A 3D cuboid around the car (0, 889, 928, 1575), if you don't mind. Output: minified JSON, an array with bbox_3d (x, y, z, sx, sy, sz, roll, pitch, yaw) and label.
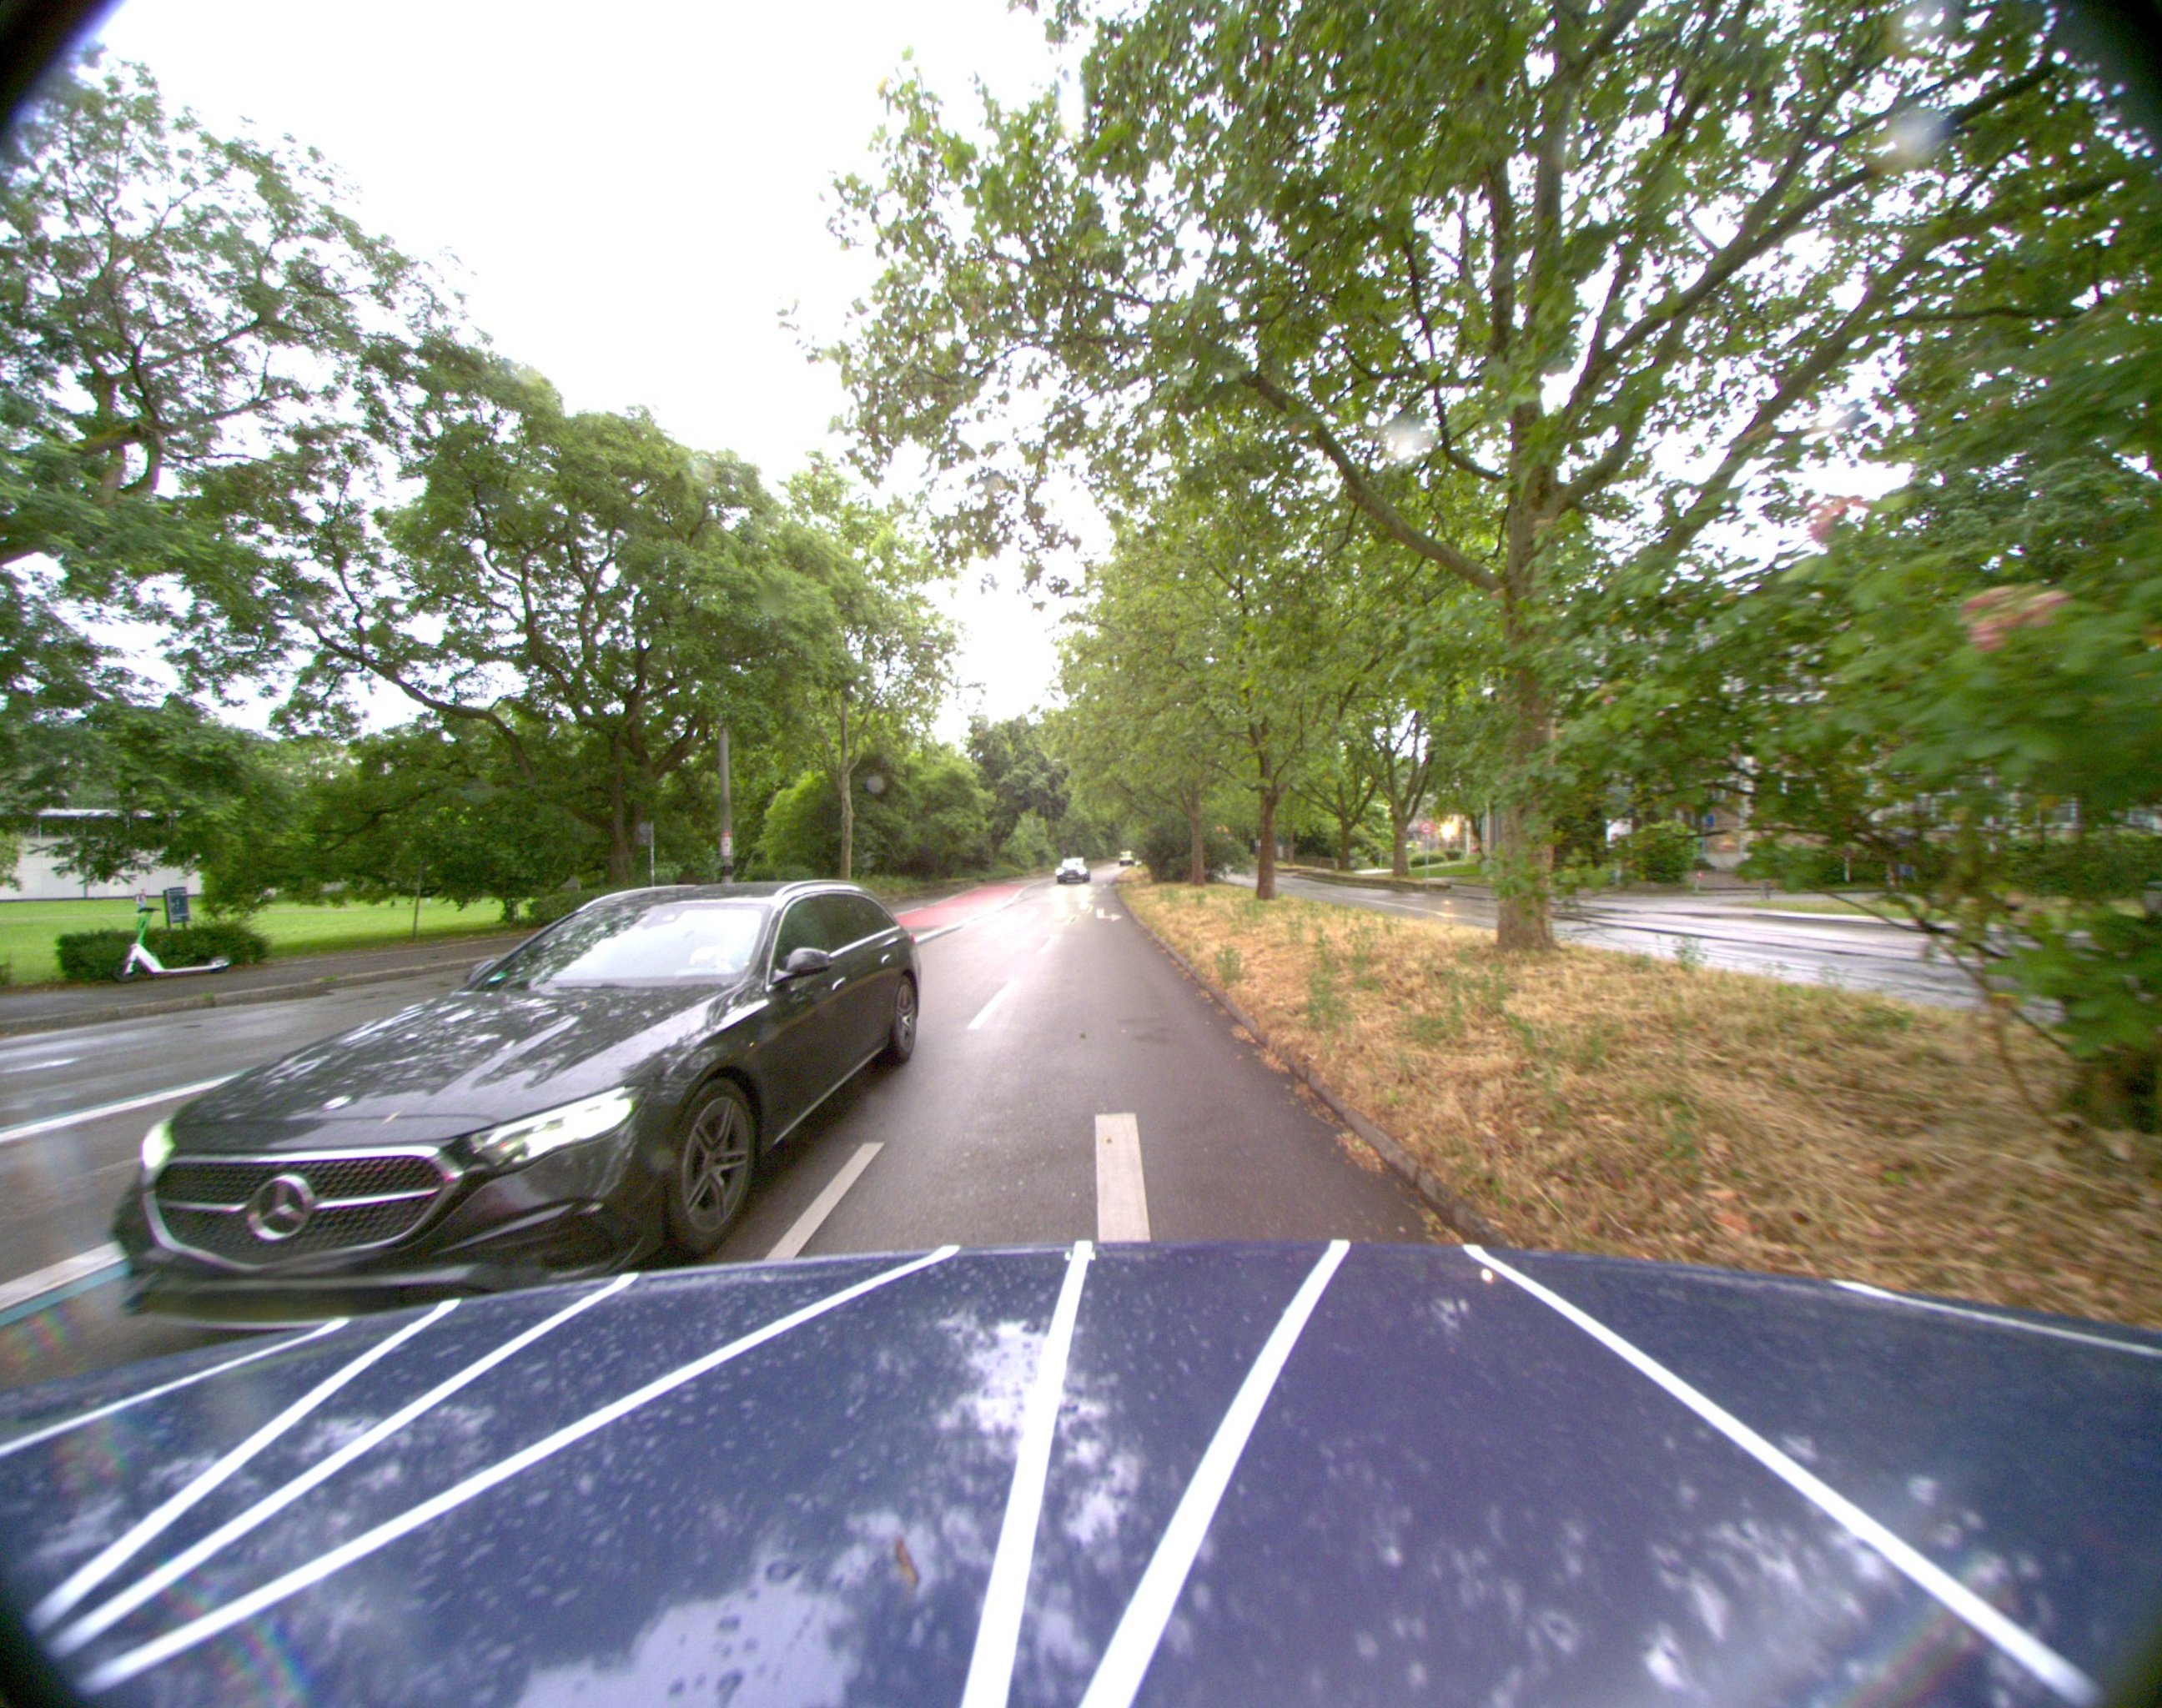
[{"bbox_3d":[-2.325,1.061,4.347,1.884,1.437,4.930,-3,0,-1],"label":"car"}]

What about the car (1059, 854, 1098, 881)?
[{"bbox_3d":[-0.105,0.867,51.031,1.832,1.599,4.579,-2,1,10],"label":"car"}]

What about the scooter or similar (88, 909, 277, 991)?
[{"bbox_3d":[-14.563,1.516,12.395,0.557,1.095,1.894,2,0,22],"label":"scooter or similar"}]

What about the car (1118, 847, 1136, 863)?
[{"bbox_3d":[6.014,0.109,98.064,1.883,1.865,4.744,-3,0,8],"label":"car"}]
